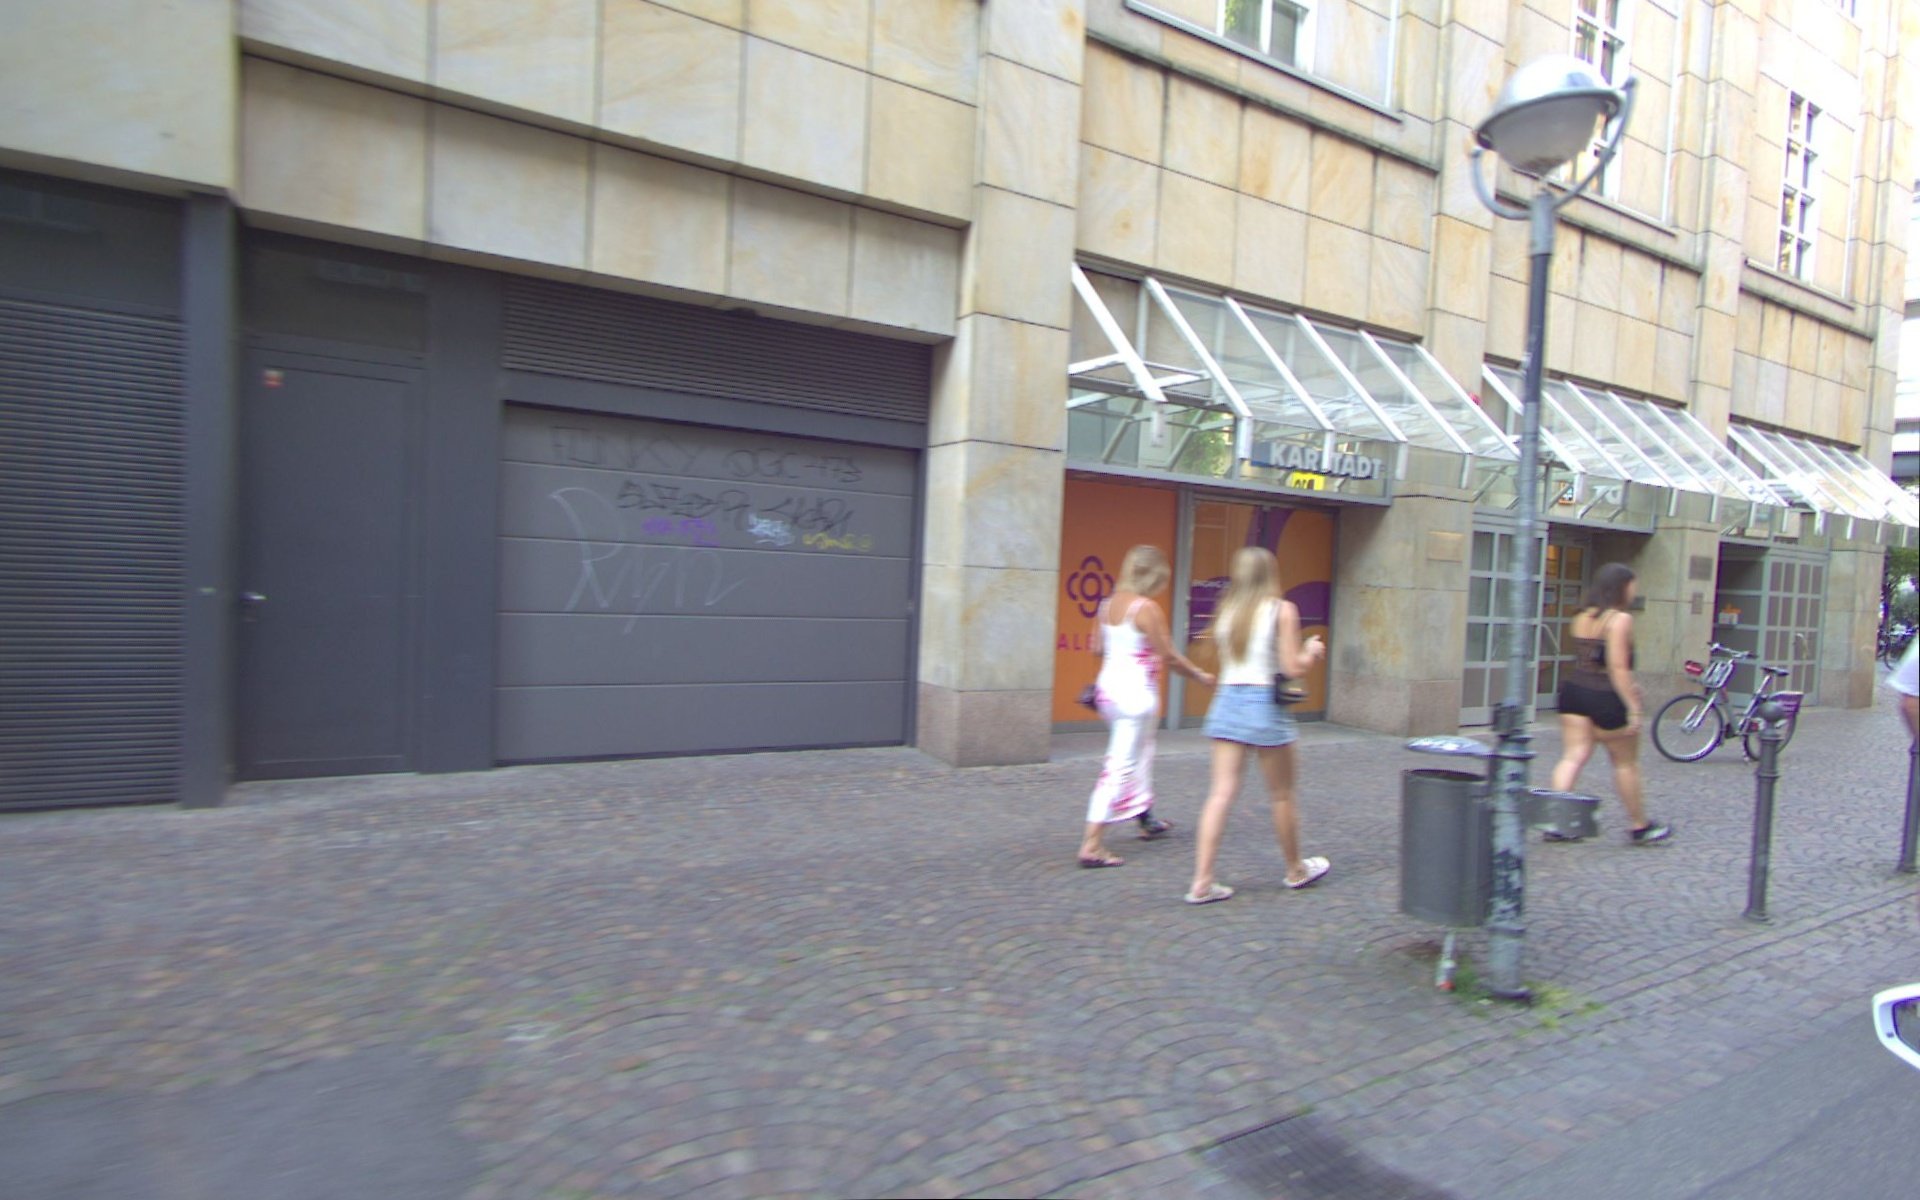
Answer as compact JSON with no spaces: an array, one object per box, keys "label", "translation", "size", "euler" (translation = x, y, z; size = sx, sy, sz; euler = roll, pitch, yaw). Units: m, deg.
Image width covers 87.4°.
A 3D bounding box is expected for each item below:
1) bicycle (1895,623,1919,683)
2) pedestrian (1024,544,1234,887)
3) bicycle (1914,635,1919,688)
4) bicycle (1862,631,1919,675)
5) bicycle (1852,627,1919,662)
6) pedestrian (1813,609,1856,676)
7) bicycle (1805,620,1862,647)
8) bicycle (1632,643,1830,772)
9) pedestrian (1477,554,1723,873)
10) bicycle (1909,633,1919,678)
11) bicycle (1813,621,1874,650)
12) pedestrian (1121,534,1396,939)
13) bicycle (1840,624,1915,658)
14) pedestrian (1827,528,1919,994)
[{"label":"bicycle","translation":[20.919,1.159,21.063],"size":[1.810,1.241,0.532],"euler":[3,1,37]},{"label":"pedestrian","translation":[0.917,0.564,5.459],"size":[0.853,1.687,0.669],"euler":[1,3,-40]},{"label":"bicycle","translation":[20.608,1.305,20.270],"size":[1.870,1.066,0.532],"euler":[3,1,37]},{"label":"bicycle","translation":[24.469,1.367,25.845],"size":[1.801,1.057,0.532],"euler":[3,1,37]},{"label":"bicycle","translation":[30.261,1.445,32.692],"size":[1.757,1.033,0.479],"euler":[3,1,37]},{"label":"pedestrian","translation":[21.732,1.040,24.964],"size":[0.689,1.604,0.716],"euler":[3,1,37]},{"label":"bicycle","translation":[40.092,1.506,46.116],"size":[1.880,1.127,0.479],"euler":[3,1,37]},{"label":"bicycle","translation":[7.424,1.023,9.679],"size":[1.735,1.153,0.521],"euler":[2,1,-15]},{"label":"pedestrian","translation":[3.930,0.650,6.217],"size":[0.956,1.819,0.784],"euler":[2,2,-18]},{"label":"bicycle","translation":[23.716,1.371,23.687],"size":[1.853,1.057,0.532],"euler":[3,1,37]},{"label":"bicycle","translation":[37.438,1.492,42.586],"size":[1.880,1.127,0.479],"euler":[3,1,37]},{"label":"pedestrian","translation":[1.447,0.583,4.919],"size":[0.938,1.753,0.802],"euler":[1,2,-32]},{"label":"bicycle","translation":[30.678,1.357,33.621],"size":[1.757,1.033,0.479],"euler":[3,1,37]},{"label":"pedestrian","translation":[4.244,0.651,4.122],"size":[0.868,1.847,0.738],"euler":[1,2,-31]}]
